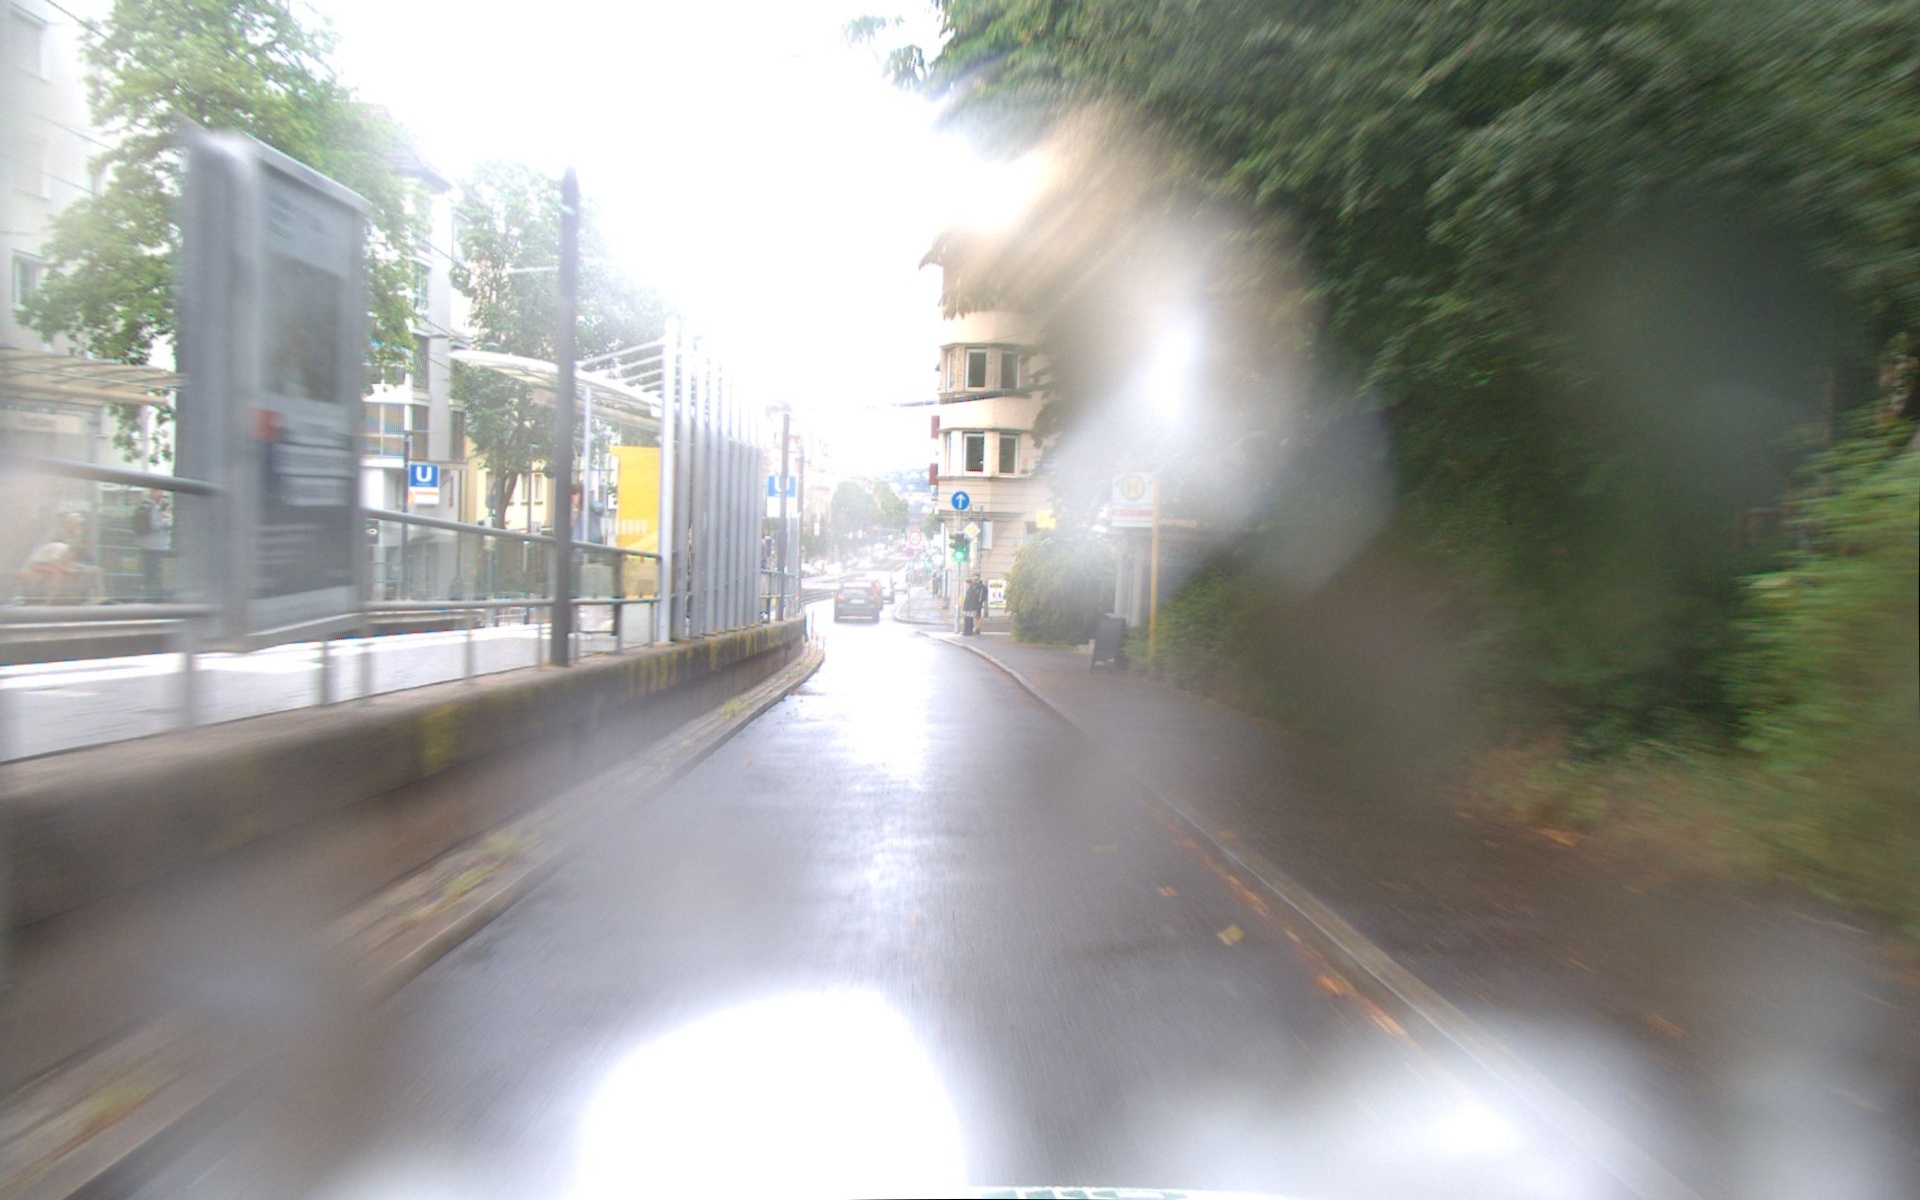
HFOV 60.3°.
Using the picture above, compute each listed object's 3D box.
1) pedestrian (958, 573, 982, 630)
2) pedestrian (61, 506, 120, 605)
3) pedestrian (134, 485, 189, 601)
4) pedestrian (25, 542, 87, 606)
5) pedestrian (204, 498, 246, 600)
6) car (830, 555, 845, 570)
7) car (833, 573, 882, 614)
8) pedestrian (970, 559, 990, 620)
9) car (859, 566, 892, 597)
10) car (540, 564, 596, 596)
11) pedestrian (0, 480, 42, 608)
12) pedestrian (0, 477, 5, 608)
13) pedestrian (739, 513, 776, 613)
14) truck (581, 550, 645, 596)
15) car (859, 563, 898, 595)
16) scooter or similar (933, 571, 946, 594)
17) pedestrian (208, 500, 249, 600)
[{"bbox_3d":[0.301,0.048,50.582,0.681,1.724,0.555,1,0,-4],"label":"pedestrian"},{"bbox_3d":[-12.810,-0.650,24.372,0.539,1.438,0.614,-1,0,-2],"label":"pedestrian"},{"bbox_3d":[-12.368,-0.878,25.636,0.539,1.771,0.614,-1,0,-2],"label":"pedestrian"},{"bbox_3d":[-12.820,-0.371,23.473,0.539,0.887,0.614,-1,0,-2],"label":"pedestrian"},{"bbox_3d":[-12.930,-0.884,29.097,0.472,1.771,0.563,-1,0,-2],"label":"pedestrian"},{"bbox_3d":[-17.697,-5.402,238.803,1.953,2.048,4.345,1,1,-3],"label":"car"},{"bbox_3d":[-3.958,-0.268,64.120,1.814,1.499,3.998,1,1,-3],"label":"car"},{"bbox_3d":[0.610,-0.323,51.222,0.543,1.845,0.650,1,0,-4],"label":"pedestrian"},{"bbox_3d":[-5.186,-1.127,101.546,1.910,1.824,4.142,1,0,-3],"label":"car"},{"bbox_3d":[-19.431,-1.023,82.101,1.690,1.541,4.496,1,1,0],"label":"car"},{"bbox_3d":[-12.839,-0.748,22.315,0.539,1.695,0.614,-1,0,-2],"label":"pedestrian"},{"bbox_3d":[-12.711,-0.745,21.191,0.582,1.695,0.591,-1,0,-2],"label":"pedestrian"},{"bbox_3d":[-3.814,-0.686,31.139,0.577,1.839,0.660,2,0,-3],"label":"pedestrian"},{"bbox_3d":[-19.280,-1.494,92.262,2.009,2.434,6.323,1,1,2],"label":"truck"},{"bbox_3d":[-4.047,-1.019,82.087,1.815,1.499,3.998,1,0,-3],"label":"car"},{"bbox_3d":[-1.502,-1.296,120.886,0.901,1.632,0.861,0,1,-6],"label":"scooter or similar"},{"bbox_3d":[-13.122,-0.884,29.682,0.472,1.771,0.563,-1,0,-2],"label":"pedestrian"}]
